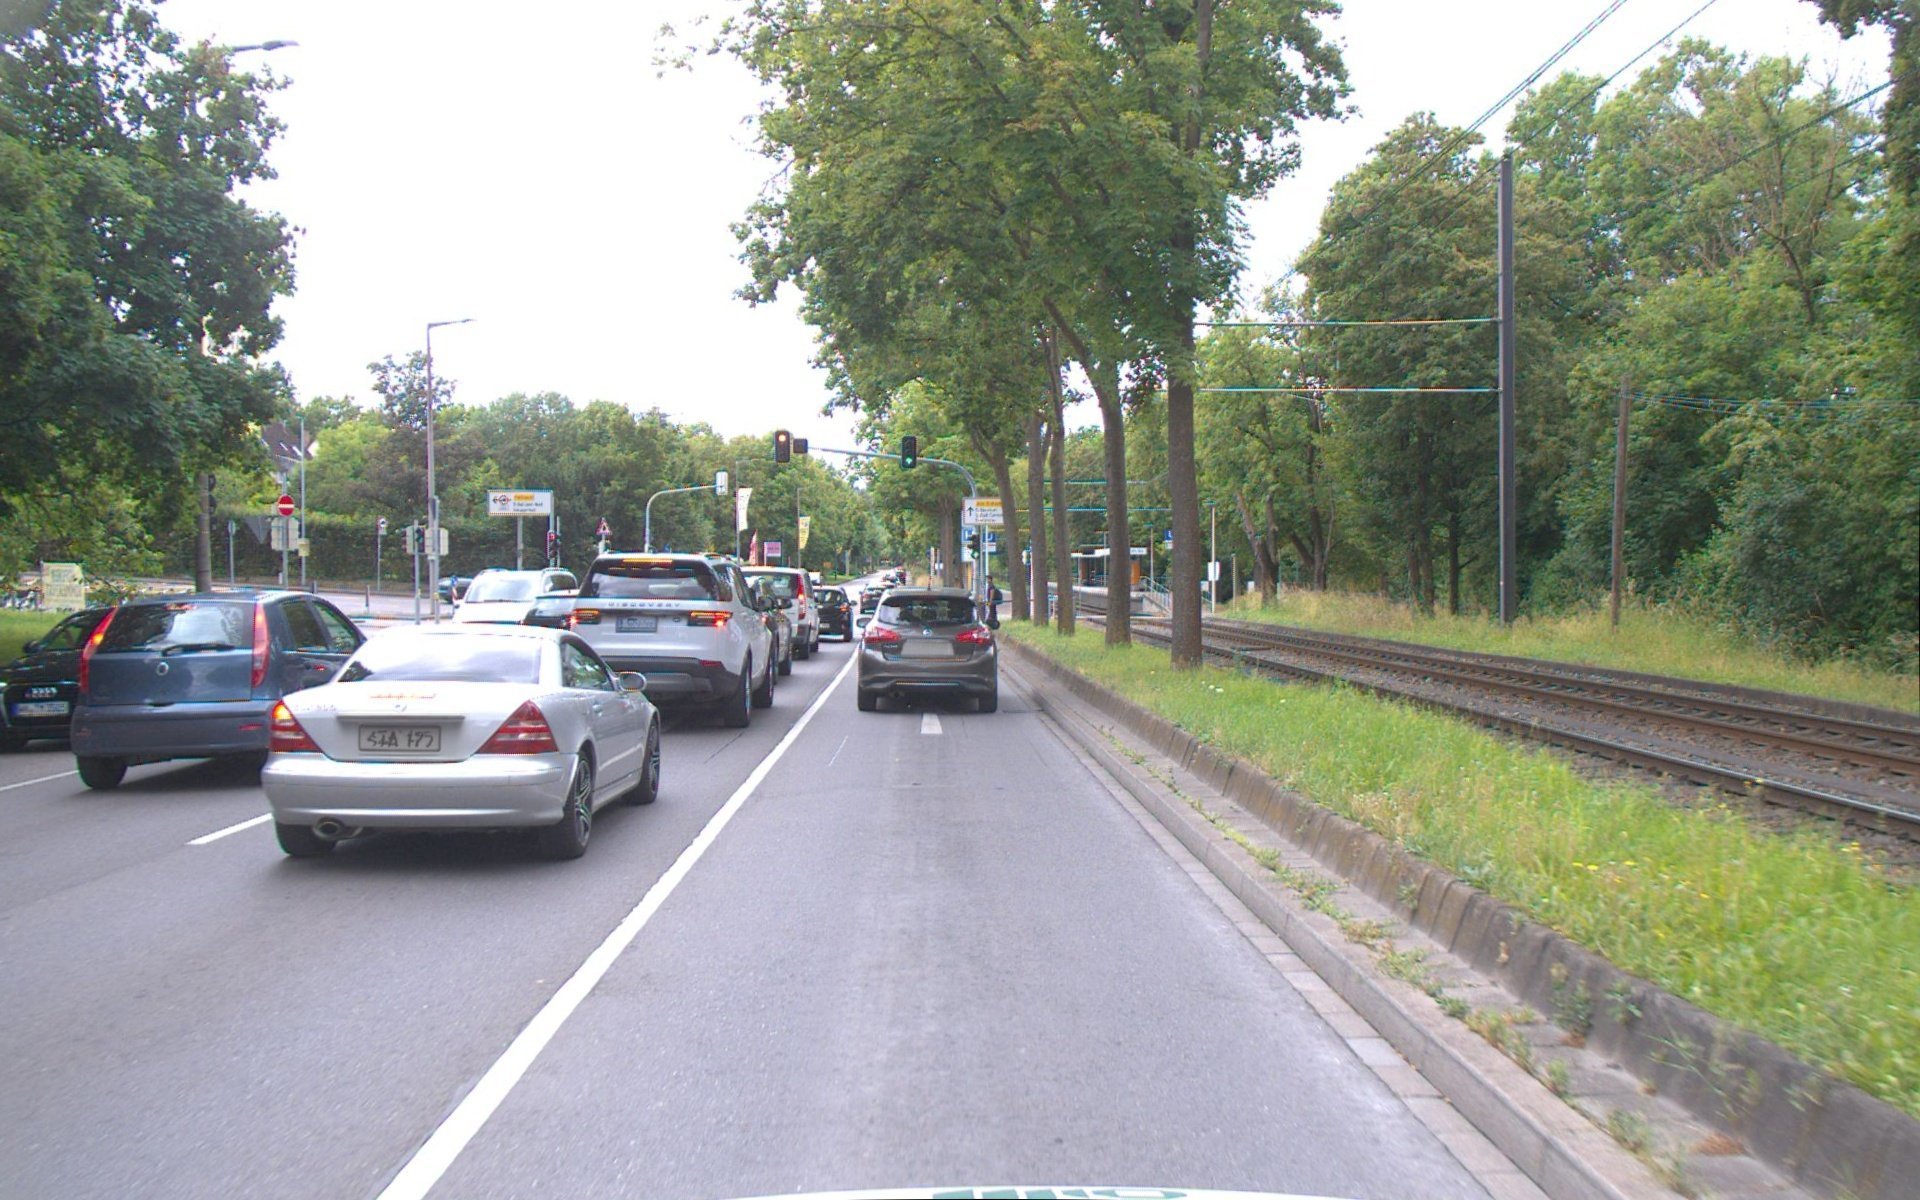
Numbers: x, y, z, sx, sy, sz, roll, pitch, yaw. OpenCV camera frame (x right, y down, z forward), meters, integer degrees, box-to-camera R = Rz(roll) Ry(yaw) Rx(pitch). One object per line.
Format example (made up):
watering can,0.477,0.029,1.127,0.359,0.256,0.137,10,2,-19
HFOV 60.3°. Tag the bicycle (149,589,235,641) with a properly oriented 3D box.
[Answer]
bicycle,-19.253,0.383,41.494,0.535,1.274,1.928,1,0,35

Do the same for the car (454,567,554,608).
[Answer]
car,-21.593,-0.577,78.354,4.370,1.843,1.936,1,0,-24

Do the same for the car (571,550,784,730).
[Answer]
car,-3.152,0.417,19.330,1.767,1.826,4.502,1,0,-1

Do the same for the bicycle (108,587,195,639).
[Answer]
bicycle,-20.548,0.343,42.072,0.535,1.274,1.928,1,0,35

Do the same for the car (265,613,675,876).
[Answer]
car,-2.845,0.759,10.418,1.523,1.289,3.821,0,0,-2

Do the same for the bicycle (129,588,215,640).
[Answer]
bicycle,-19.885,0.363,41.769,0.535,1.274,1.928,2,0,35

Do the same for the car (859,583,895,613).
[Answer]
car,-4.321,-0.100,86.758,1.675,1.501,3.671,1,0,0

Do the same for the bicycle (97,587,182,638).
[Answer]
bicycle,-21.174,0.325,42.716,0.535,1.274,1.928,1,0,35

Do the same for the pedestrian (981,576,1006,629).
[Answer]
pedestrian,1.141,0.091,56.057,0.736,1.767,0.840,-2,0,3

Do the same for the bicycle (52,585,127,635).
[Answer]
bicycle,-22.876,0.273,43.503,0.532,1.274,1.937,2,0,15

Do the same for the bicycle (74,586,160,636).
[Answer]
bicycle,-21.974,0.300,43.145,0.535,1.274,1.928,1,0,35

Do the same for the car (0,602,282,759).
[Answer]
car,-8.802,0.775,17.697,1.597,1.419,3.831,-1,1,-2

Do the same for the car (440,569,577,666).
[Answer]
car,-9.341,0.330,34.565,1.755,1.863,4.407,-1,0,-2

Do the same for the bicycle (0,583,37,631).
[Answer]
bicycle,-25.961,0.178,44.597,0.533,1.274,1.935,2,0,20

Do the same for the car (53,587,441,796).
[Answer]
car,-5.847,0.660,14.096,1.559,1.493,3.929,-1,0,0

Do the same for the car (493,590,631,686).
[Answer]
car,-6.797,0.599,28.585,1.525,1.492,3.806,-2,1,-2

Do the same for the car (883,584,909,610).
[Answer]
car,-3.989,-0.186,103.922,1.472,1.555,3.671,1,0,0

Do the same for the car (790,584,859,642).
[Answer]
car,-3.694,0.330,45.558,1.669,1.506,3.666,0,0,-2

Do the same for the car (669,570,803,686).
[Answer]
car,-3.585,0.426,27.108,1.716,1.748,4.333,0,0,-2

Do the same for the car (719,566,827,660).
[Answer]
car,-3.946,0.235,35.731,1.868,1.875,5.280,0,0,-2

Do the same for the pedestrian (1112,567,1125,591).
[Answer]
pedestrian,10.319,-1.387,107.758,0.703,1.537,0.724,2,0,1

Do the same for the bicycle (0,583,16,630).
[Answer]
bicycle,-26.619,0.158,44.836,0.532,1.274,1.937,2,0,15

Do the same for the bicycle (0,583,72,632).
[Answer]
bicycle,-24.890,0.211,44.295,0.534,1.274,1.931,1,0,31

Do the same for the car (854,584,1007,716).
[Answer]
car,-0.350,0.585,21.723,1.800,1.555,3.929,1,0,0

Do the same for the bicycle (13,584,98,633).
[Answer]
bicycle,-24.026,0.238,43.968,0.534,1.274,1.931,1,0,31

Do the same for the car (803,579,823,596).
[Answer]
car,-14.774,-1.242,166.785,1.864,1.708,5.077,0,0,-4
